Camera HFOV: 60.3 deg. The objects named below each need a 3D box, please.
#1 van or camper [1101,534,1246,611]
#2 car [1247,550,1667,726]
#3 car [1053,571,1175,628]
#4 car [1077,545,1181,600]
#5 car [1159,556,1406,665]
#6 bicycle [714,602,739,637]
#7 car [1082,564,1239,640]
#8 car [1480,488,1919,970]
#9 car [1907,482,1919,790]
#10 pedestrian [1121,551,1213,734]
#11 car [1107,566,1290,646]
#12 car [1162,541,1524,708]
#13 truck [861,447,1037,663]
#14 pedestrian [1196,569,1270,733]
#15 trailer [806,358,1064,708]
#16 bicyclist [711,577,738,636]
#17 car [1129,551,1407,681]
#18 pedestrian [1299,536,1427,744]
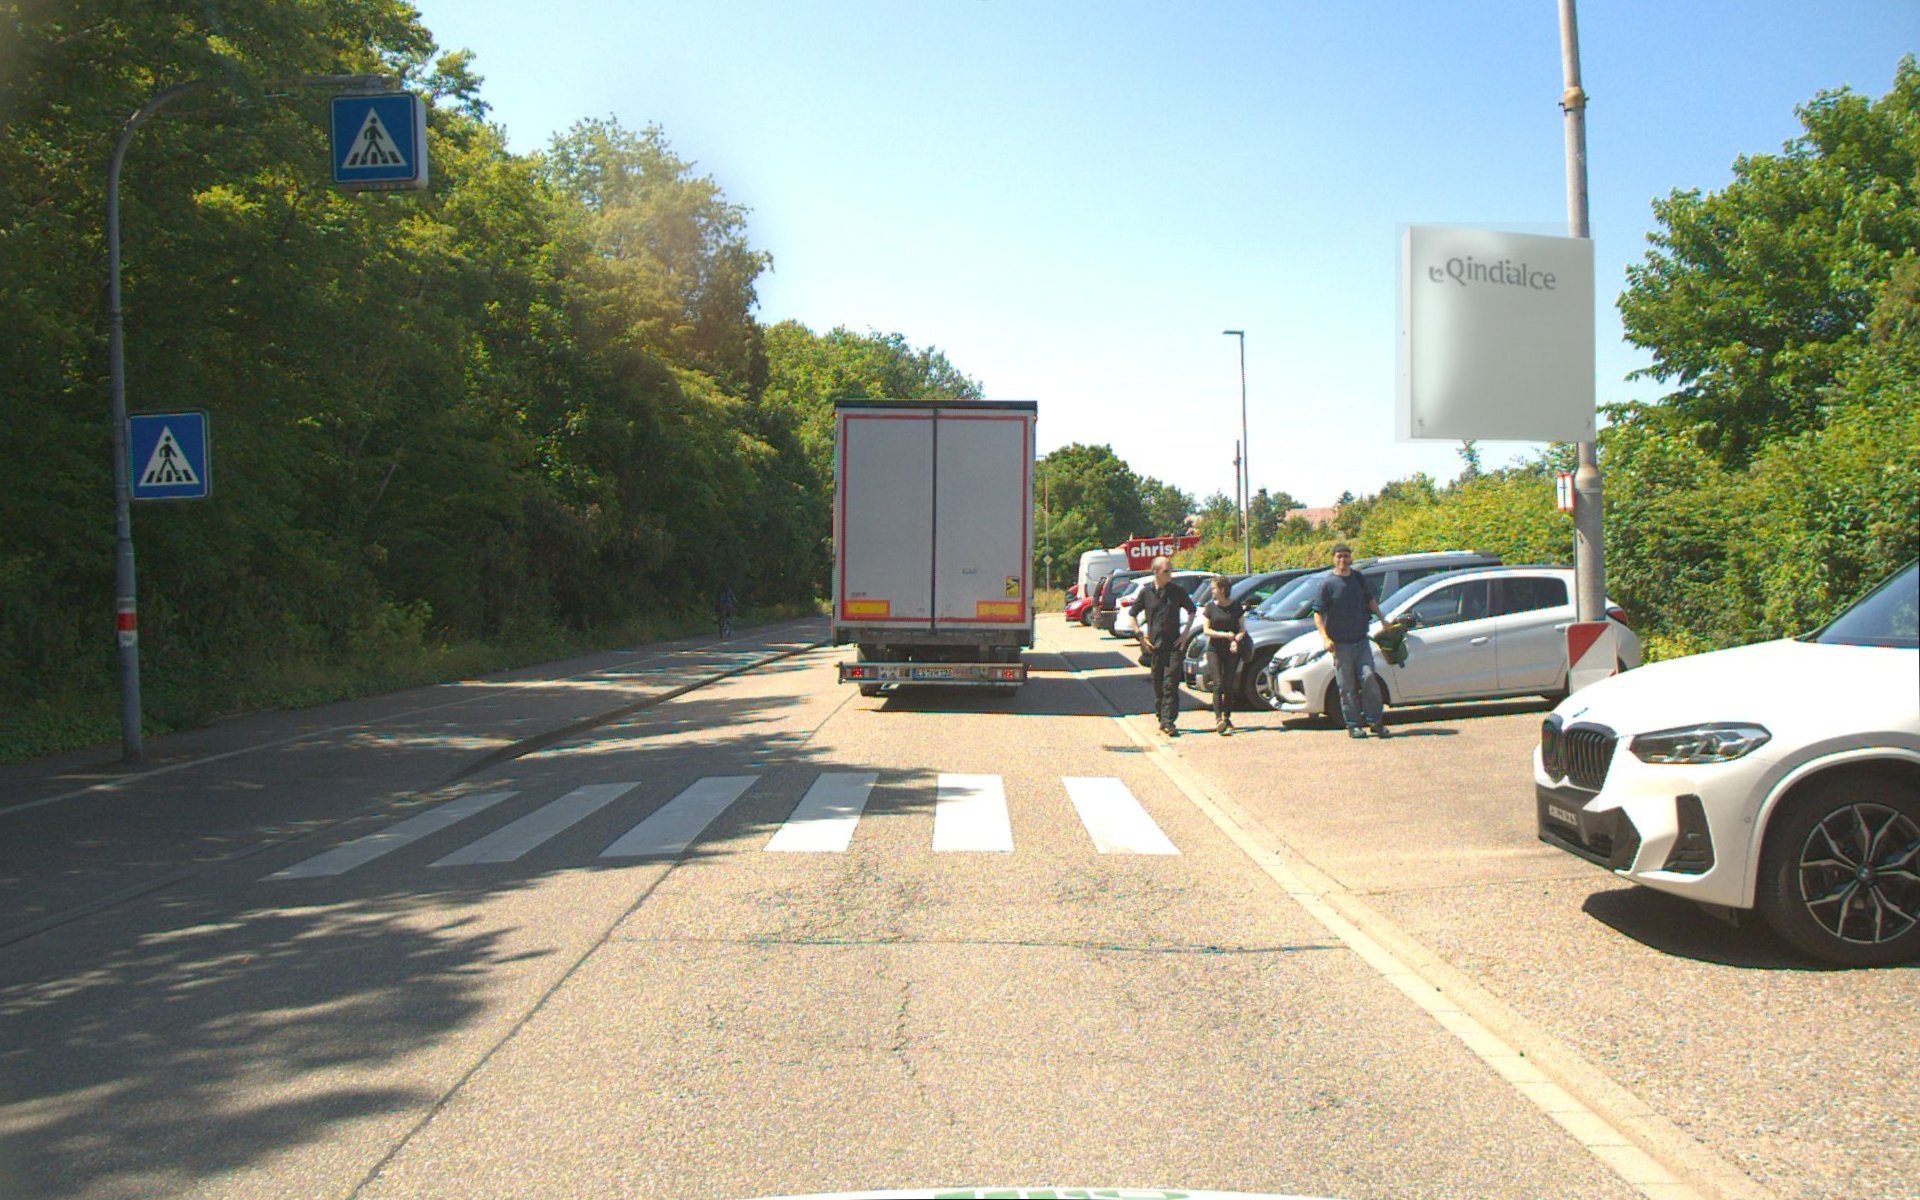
[{"bbox_3d":[10.578,-1.328,81.796,6.894,3.649,2.775,-1,0,12],"label":"van or camper"},{"bbox_3d":[5.138,0.387,17.527,3.874,1.505,1.814,-4,0,3],"label":"car"},{"bbox_3d":[5.354,-0.005,57.731,3.880,1.697,1.811,-4,0,-5],"label":"car"},{"bbox_3d":[6.653,-1.082,65.540,3.875,1.829,1.813,-4,-2,1],"label":"car"},{"bbox_3d":[5.716,0.180,29.537,3.884,1.613,1.810,-4,0,-9],"label":"car"},{"bbox_3d":[-7.266,0.607,51.561,0.444,1.065,2.203,-1,0,1],"label":"bicycle"},{"bbox_3d":[5.388,0.044,44.769,3.879,1.796,1.812,-3,0,-5],"label":"car"},{"bbox_3d":[4.744,0.395,7.161,4.318,1.727,1.875,-3,0,-4],"label":"car"},{"bbox_3d":[5.149,0.373,4.492,4.042,1.686,1.886,-3,0,-2],"label":"car"},{"bbox_3d":[2.204,0.447,17.739,0.804,1.866,0.793,-4,0,4],"label":"pedestrian"},{"bbox_3d":[5.527,0.140,38.617,3.879,1.647,1.812,-3,0,-5],"label":"car"},{"bbox_3d":[4.652,0.289,20.397,3.882,1.697,1.810,-4,0,-7],"label":"car"},{"bbox_3d":[-0.153,-0.826,32.631,3.050,3.790,6.414,-1,0,1],"label":"truck"},{"bbox_3d":[2.858,0.520,17.368,0.577,1.643,0.745,-4,0,4],"label":"pedestrian"},{"bbox_3d":[-0.238,-0.863,25.810,3.049,4.174,11.537,-1,0,1],"label":"trailer"},{"bbox_3d":[-7.301,0.196,51.330,0.702,1.789,0.796,-1,0,2],"label":"bicyclist"},{"bbox_3d":[4.811,0.209,26.106,3.884,1.697,1.810,-4,2,-9],"label":"car"},{"bbox_3d":[3.755,0.363,15.485,0.888,1.829,0.935,-4,0,4],"label":"pedestrian"}]
